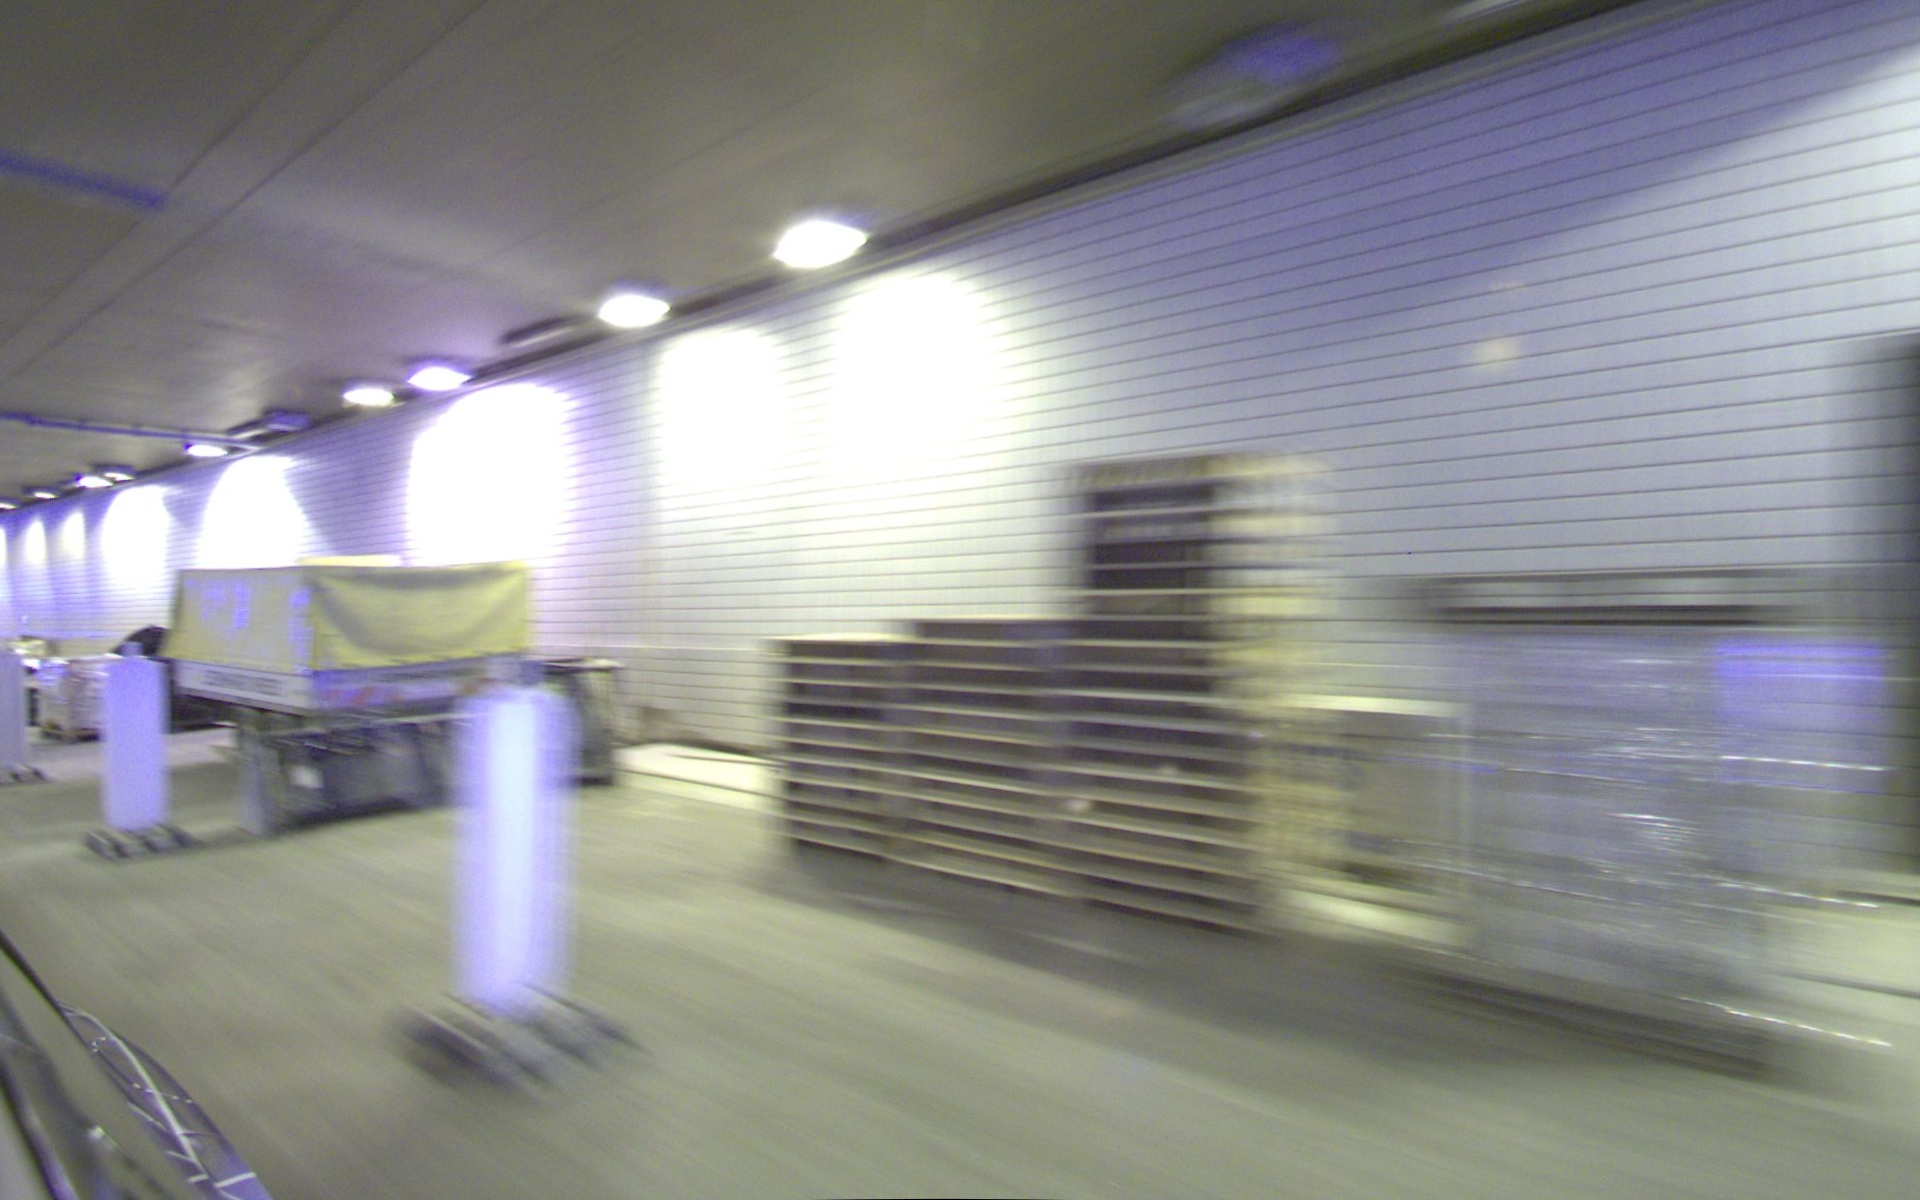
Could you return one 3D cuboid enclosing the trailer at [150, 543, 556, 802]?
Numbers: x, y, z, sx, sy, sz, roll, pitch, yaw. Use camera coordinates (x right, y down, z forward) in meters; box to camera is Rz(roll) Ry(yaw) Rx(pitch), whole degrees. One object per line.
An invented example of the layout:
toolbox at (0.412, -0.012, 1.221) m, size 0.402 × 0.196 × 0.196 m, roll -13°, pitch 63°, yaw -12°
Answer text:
trailer at (-5.914, 0.578, 9.822) m, size 3.458 × 2.029 × 2.189 m, roll -1°, pitch 0°, yaw 35°
